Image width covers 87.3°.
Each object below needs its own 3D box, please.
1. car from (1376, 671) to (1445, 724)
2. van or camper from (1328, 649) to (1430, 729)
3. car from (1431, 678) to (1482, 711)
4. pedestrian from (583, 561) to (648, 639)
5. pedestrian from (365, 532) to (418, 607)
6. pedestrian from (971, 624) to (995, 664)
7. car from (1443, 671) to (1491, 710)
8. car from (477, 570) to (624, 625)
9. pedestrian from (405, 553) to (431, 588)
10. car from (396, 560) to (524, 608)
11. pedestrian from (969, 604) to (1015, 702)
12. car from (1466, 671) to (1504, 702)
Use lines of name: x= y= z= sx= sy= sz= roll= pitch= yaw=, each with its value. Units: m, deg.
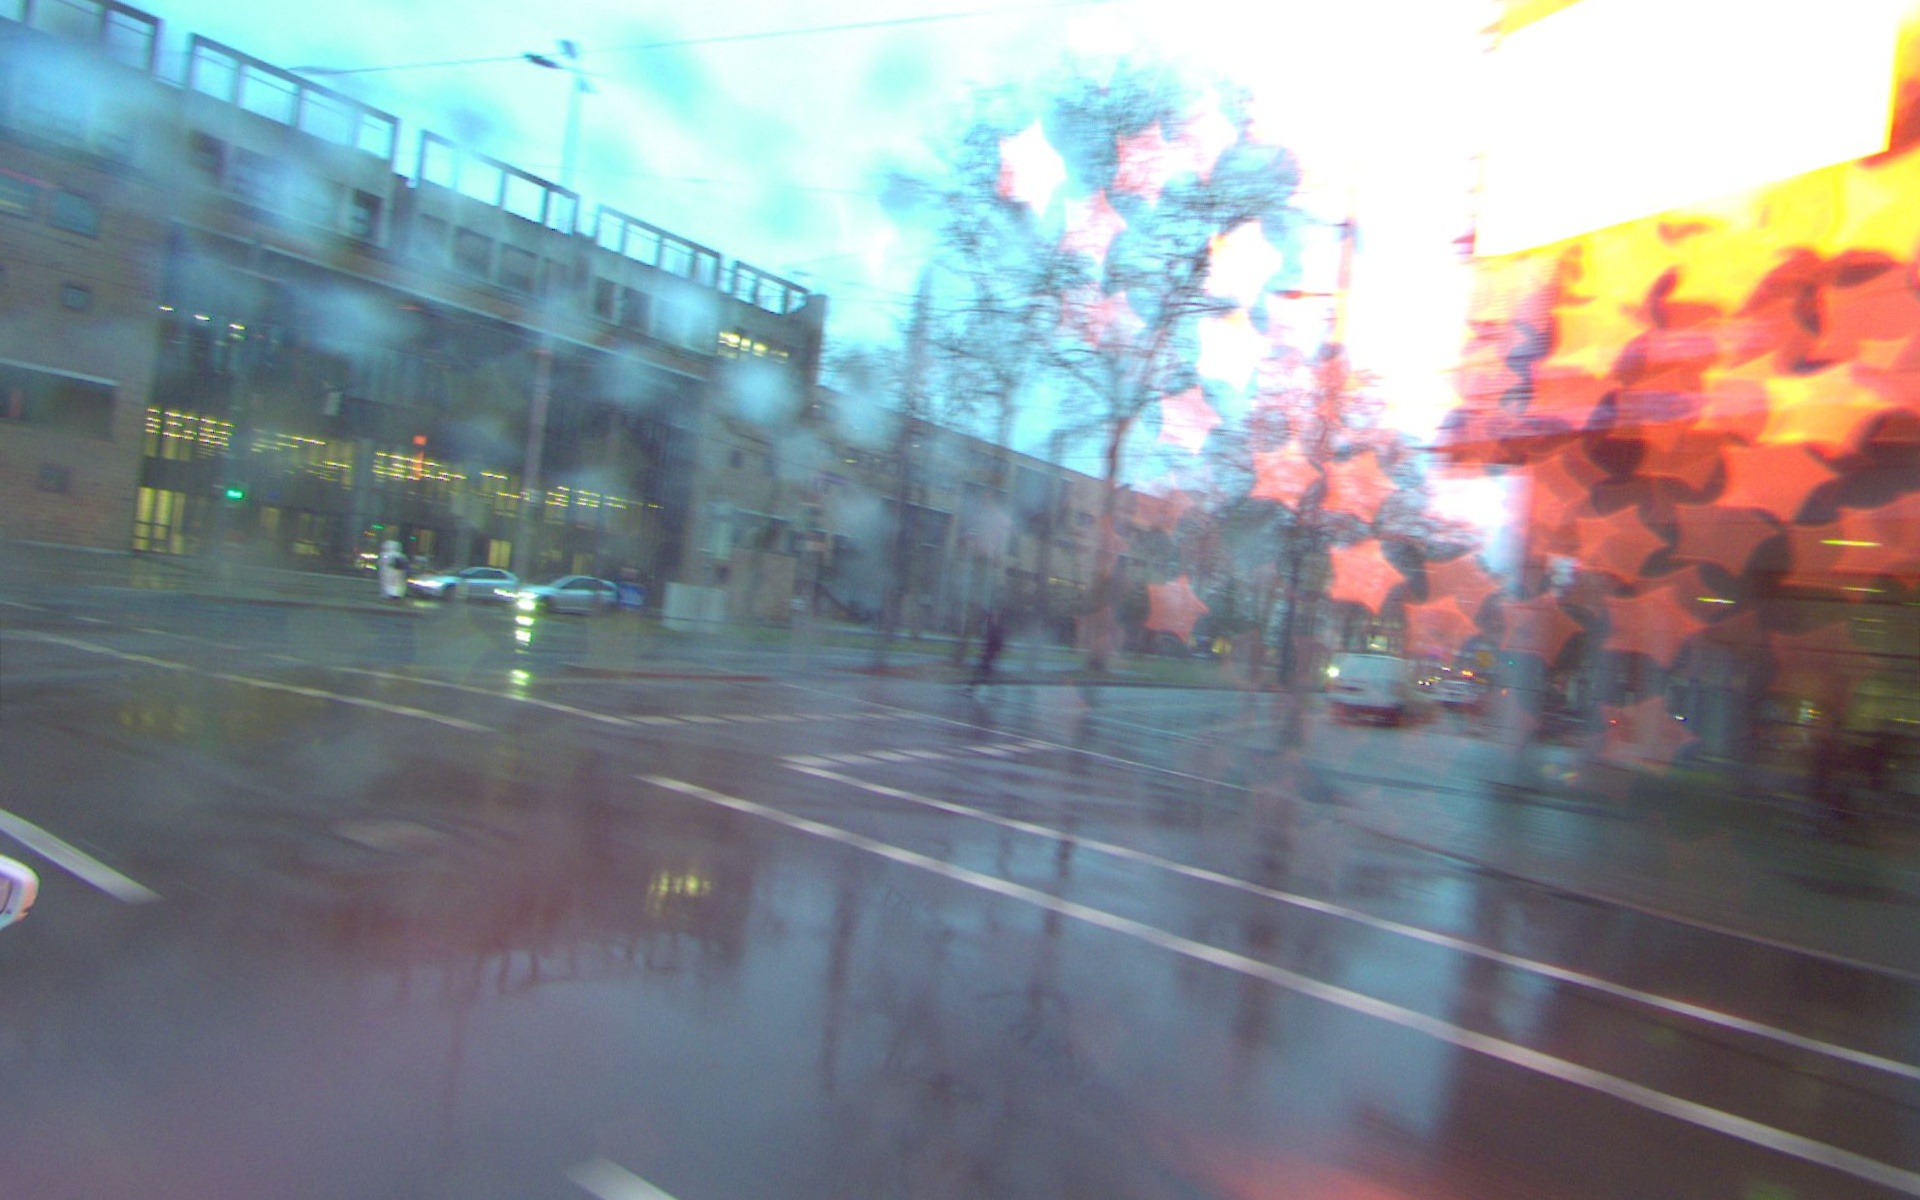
car: x=15.667 y=3.385 z=34.892 sx=1.616 sy=1.546 sz=3.838 roll=6 pitch=-2 yaw=31
van or camper: x=12.363 y=2.646 z=29.507 sx=1.811 sy=1.951 sz=4.739 roll=6 pitch=-2 yaw=33
car: x=26.416 y=5.022 z=53.478 sx=1.813 sy=1.450 sz=3.989 roll=6 pitch=-1 yaw=34
pedestrian: x=-8.648 y=0.004 z=25.300 sx=0.764 sy=1.809 sz=1.150 roll=7 pitch=0 yaw=31
pedestrian: x=-14.578 y=-0.777 z=25.807 sx=0.722 sy=1.809 sz=0.735 roll=7 pitch=0 yaw=27
pedestrian: x=0.834 y=1.622 z=36.864 sx=0.471 sy=1.381 sz=0.604 roll=7 pitch=0 yaw=38
car: x=29.381 y=5.244 z=58.268 sx=1.813 sy=1.974 sz=3.989 roll=6 pitch=-1 yaw=34
car: x=-13.035 y=-0.056 z=32.232 sx=1.785 sy=1.358 sz=3.983 roll=6 pitch=0 yaw=33
pedestrian: x=-23.063 y=-1.258 z=42.821 sx=0.733 sy=1.406 sz=0.729 roll=7 pitch=0 yaw=-39
car: x=-19.275 y=-0.586 z=38.942 sx=1.784 sy=1.325 sz=3.988 roll=6 pitch=-2 yaw=32
pedestrian: x=0.618 y=1.036 z=19.964 sx=0.639 sy=1.833 sz=0.800 roll=7 pitch=0 yaw=-3
car: x=37.721 y=6.226 z=72.217 sx=1.813 sy=1.974 sz=3.989 roll=6 pitch=-1 yaw=34
